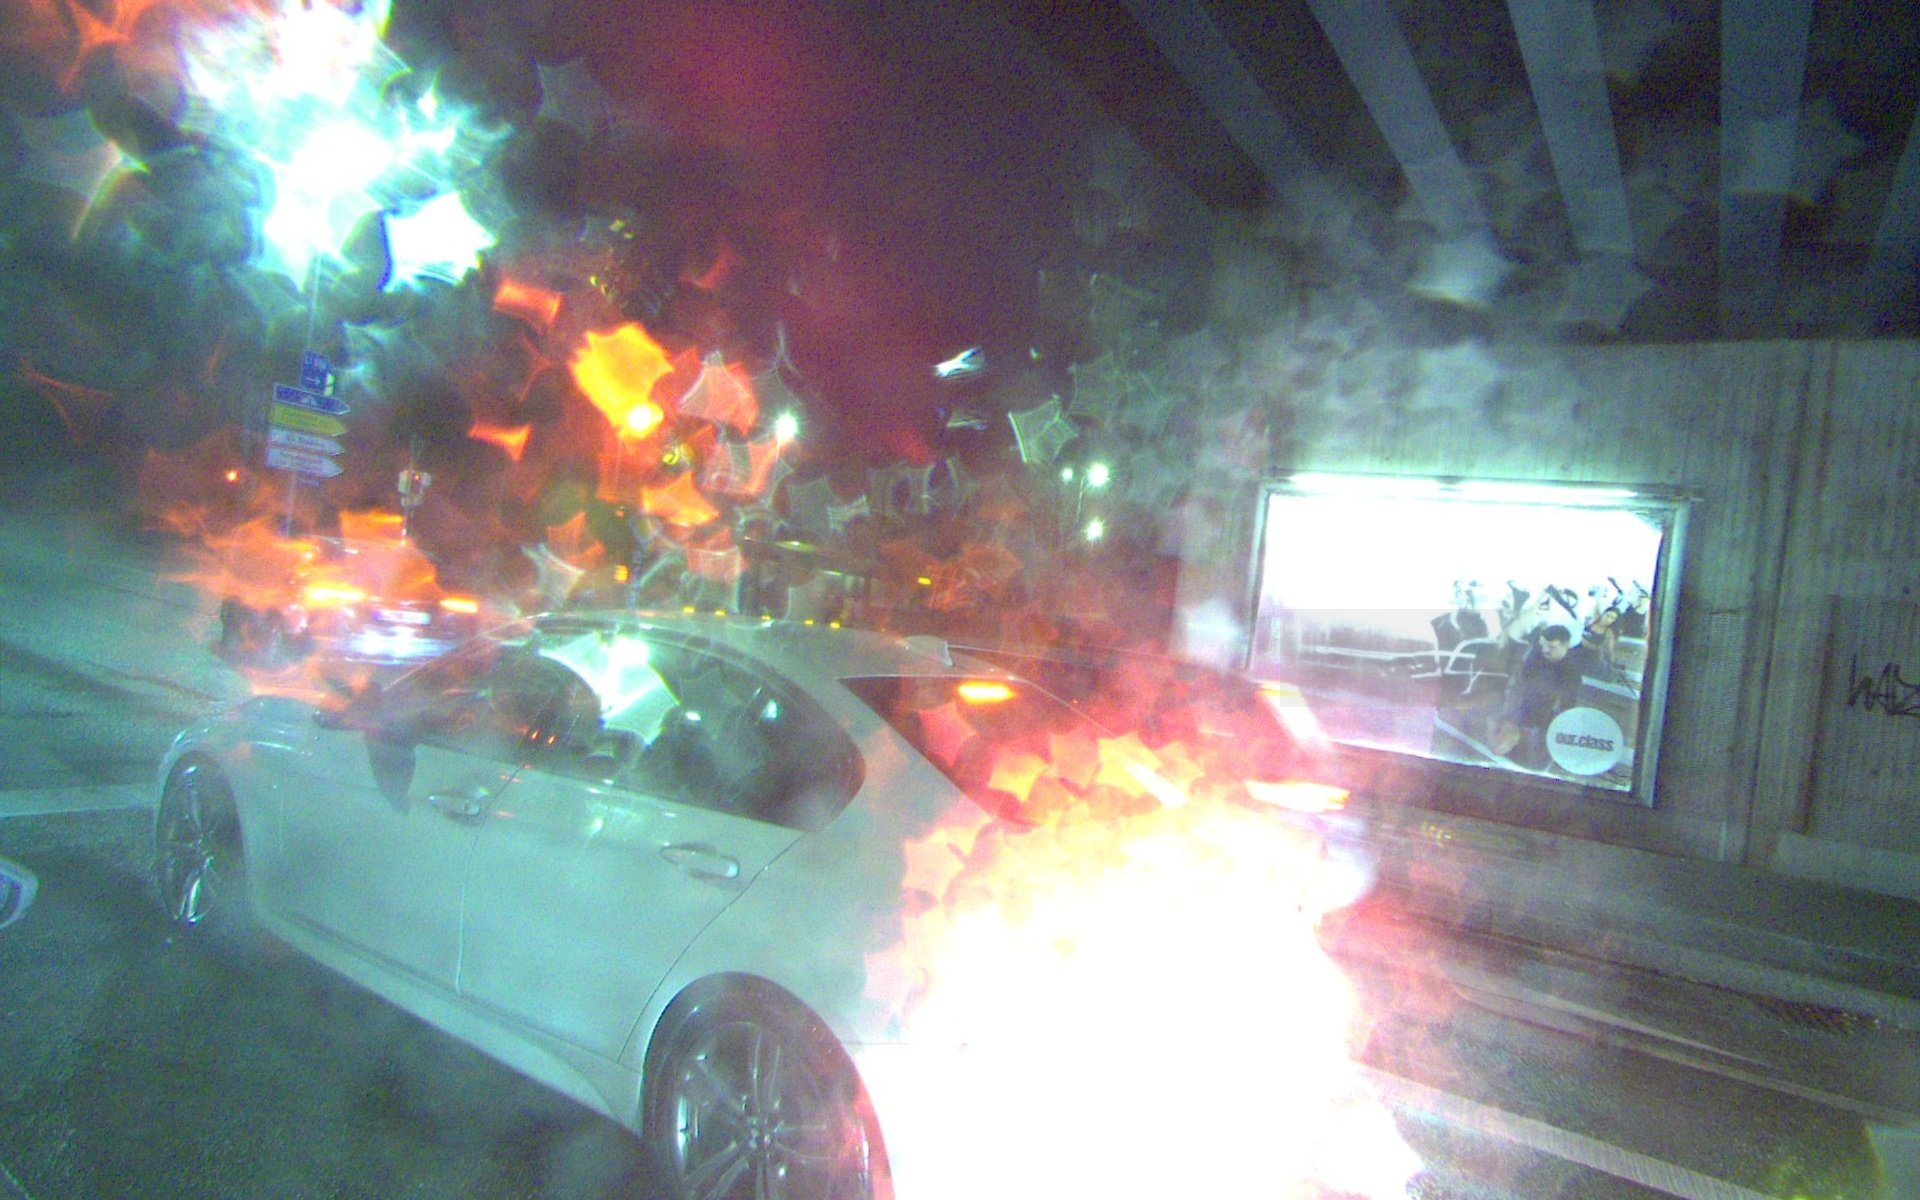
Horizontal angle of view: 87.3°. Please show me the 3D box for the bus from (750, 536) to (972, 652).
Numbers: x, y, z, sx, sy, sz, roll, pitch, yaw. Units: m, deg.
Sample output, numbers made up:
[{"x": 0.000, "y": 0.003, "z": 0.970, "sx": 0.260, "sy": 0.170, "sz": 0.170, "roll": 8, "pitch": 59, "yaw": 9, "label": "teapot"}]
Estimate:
[{"x": -3.442, "y": -0.041, "z": 38.781, "sx": 2.733, "sy": 3.159, "sz": 9.745, "roll": 7, "pitch": -2, "yaw": 33, "label": "bus"}]

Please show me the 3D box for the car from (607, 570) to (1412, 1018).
[{"x": 0.183, "y": 0.880, "z": 6.285, "sx": 4.550, "sy": 1.502, "sz": 1.852, "roll": 8, "pitch": 0, "yaw": 29, "label": "car"}]

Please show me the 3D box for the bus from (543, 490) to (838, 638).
[{"x": -7.814, "y": -0.844, "z": 31.218, "sx": 2.729, "sy": 3.159, "sz": 9.759, "roll": 7, "pitch": -2, "yaw": 27, "label": "bus"}]

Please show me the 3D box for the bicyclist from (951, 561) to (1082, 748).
[{"x": 0.589, "y": 0.560, "z": 10.422, "sx": 0.886, "sy": 1.783, "sz": 0.798, "roll": 6, "pitch": -1, "yaw": 32, "label": "bicyclist"}]

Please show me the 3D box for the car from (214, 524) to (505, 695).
[{"x": -7.234, "y": 0.025, "z": 11.877, "sx": 1.833, "sy": 1.495, "sz": 4.571, "roll": 9, "pitch": -3, "yaw": -44, "label": "car"}]

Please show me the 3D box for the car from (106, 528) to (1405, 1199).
[{"x": -0.957, "y": 0.710, "z": 3.487, "sx": 4.277, "sy": 1.420, "sz": 1.720, "roll": 6, "pitch": -2, "yaw": 32, "label": "car"}]
